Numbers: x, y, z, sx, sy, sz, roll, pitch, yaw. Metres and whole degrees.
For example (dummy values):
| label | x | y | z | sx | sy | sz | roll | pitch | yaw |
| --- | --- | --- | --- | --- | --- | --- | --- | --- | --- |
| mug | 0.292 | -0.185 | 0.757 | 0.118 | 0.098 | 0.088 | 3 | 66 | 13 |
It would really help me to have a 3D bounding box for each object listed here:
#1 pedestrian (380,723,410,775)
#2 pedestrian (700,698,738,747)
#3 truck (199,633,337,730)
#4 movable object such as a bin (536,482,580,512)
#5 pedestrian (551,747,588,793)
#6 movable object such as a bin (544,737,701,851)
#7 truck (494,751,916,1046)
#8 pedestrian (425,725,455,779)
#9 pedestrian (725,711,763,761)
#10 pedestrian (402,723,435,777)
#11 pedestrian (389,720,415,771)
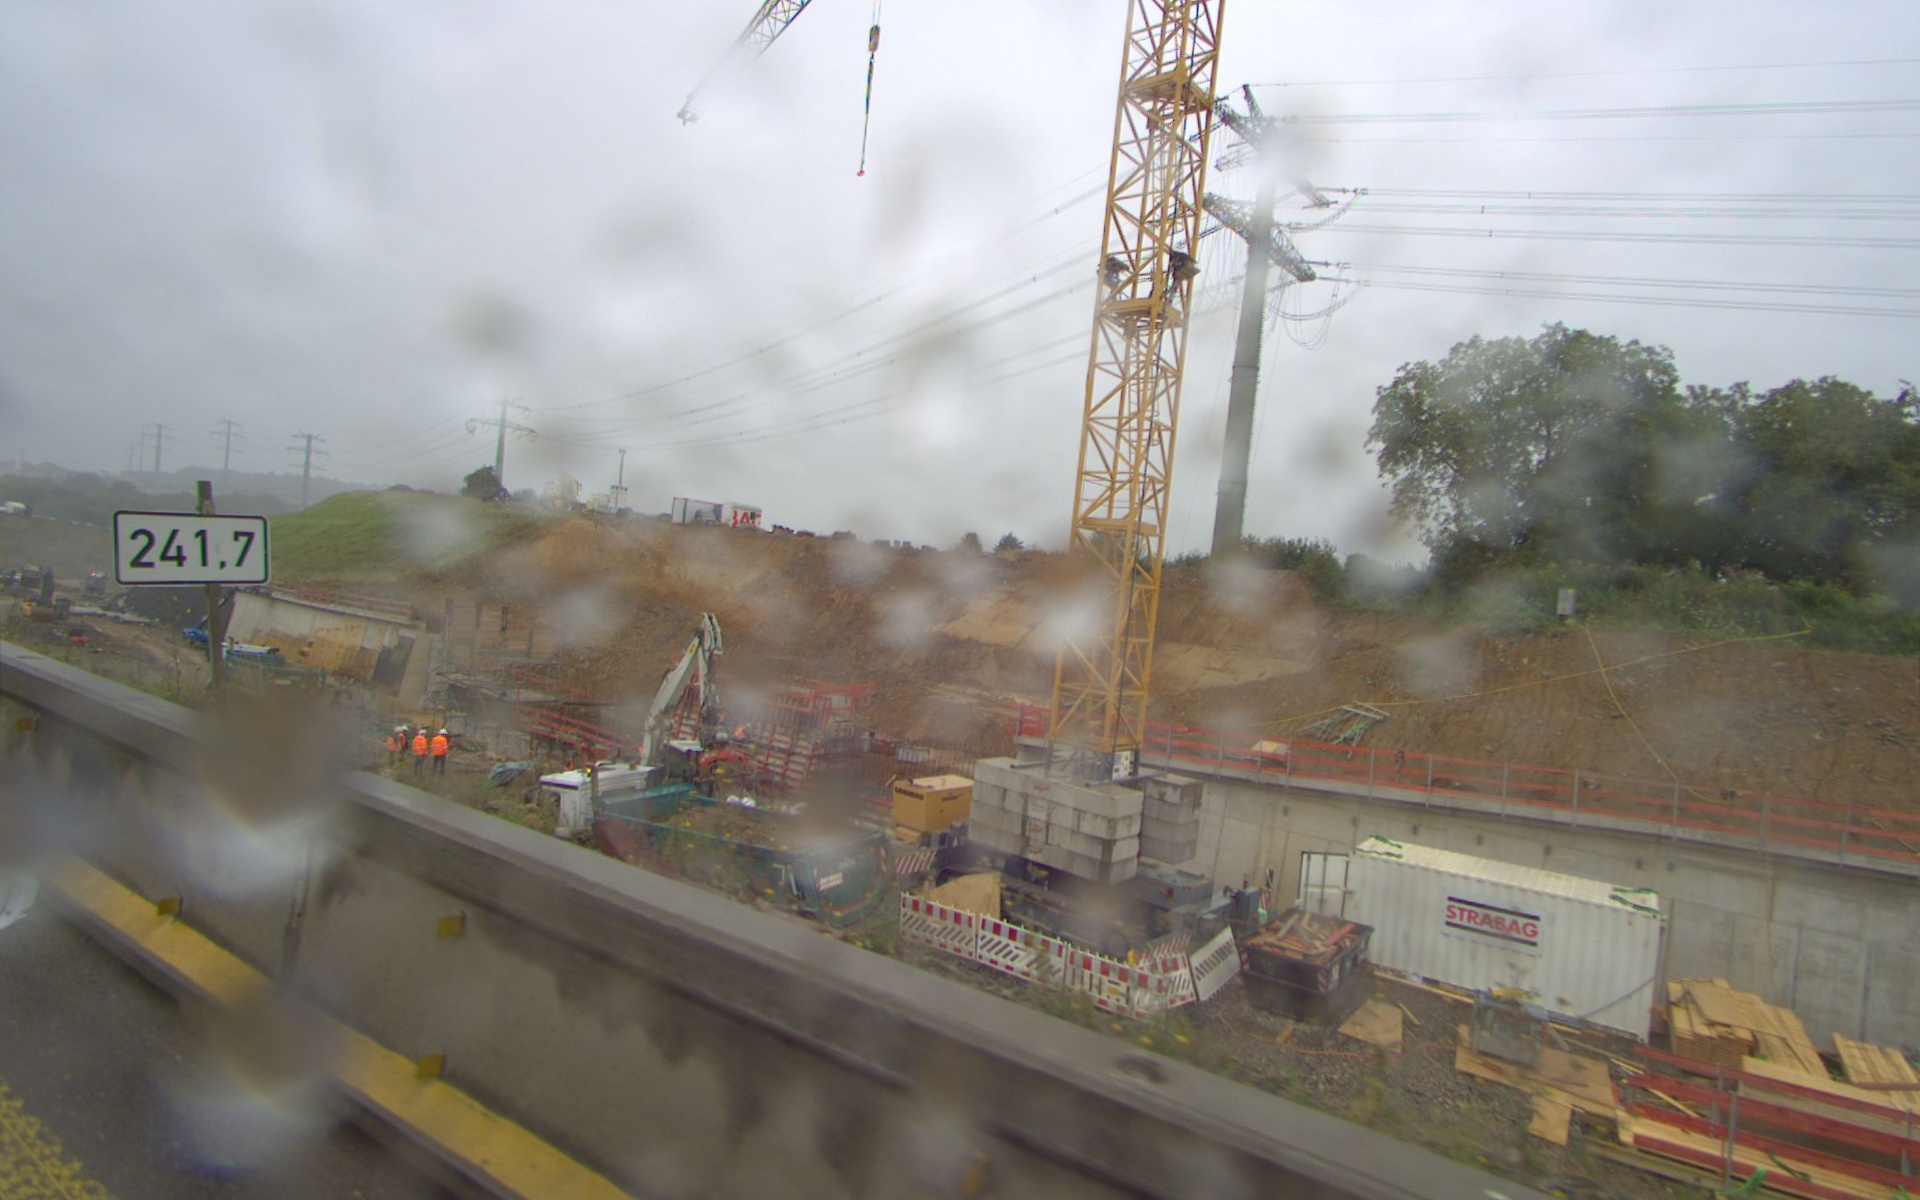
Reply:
| label | x | y | z | sx | sy | sz | roll | pitch | yaw |
| --- | --- | --- | --- | --- | --- | --- | --- | --- | --- |
| pedestrian | -22.038 | 5.808 | 39.233 | 0.725 | 1.891 | 0.573 | 6 | -2 | 40 |
| pedestrian | -11.169 | 5.675 | 46.557 | 0.885 | 2.012 | 0.907 | 5 | -12 | 38 |
| truck | -33.888 | 3.896 | 49.091 | 8.931 | 3.530 | 2.731 | 6 | -3 | 38 |
| movable object such as a bin | -41.015 | -10.524 | 102.608 | 3.912 | 2.472 | 2.428 | 8 | -1 | 41 |
| pedestrian | -19.309 | 8.415 | 49.752 | 0.892 | 2.012 | 0.901 | 5 | -12 | 37 |
| movable object such as a bin | -10.251 | 5.790 | 30.668 | 2.921 | 2.768 | 3.155 | 6 | -3 | 33 |
| truck | -5.482 | 5.633 | 20.713 | 8.800 | 3.543 | 2.705 | 6 | -2 | 32 |
| pedestrian | -20.324 | 5.945 | 39.343 | 0.725 | 1.966 | 0.573 | 8 | -1 | -19 |
| pedestrian | -9.737 | 6.124 | 45.374 | 0.885 | 2.012 | 0.907 | 5 | -12 | 38 |
| pedestrian | -21.103 | 5.833 | 39.202 | 0.721 | 1.966 | 0.576 | 7 | -1 | 5 |
| pedestrian | -22.296 | 5.821 | 40.201 | 0.567 | 1.891 | 0.732 | 8 | -1 | -20 |
